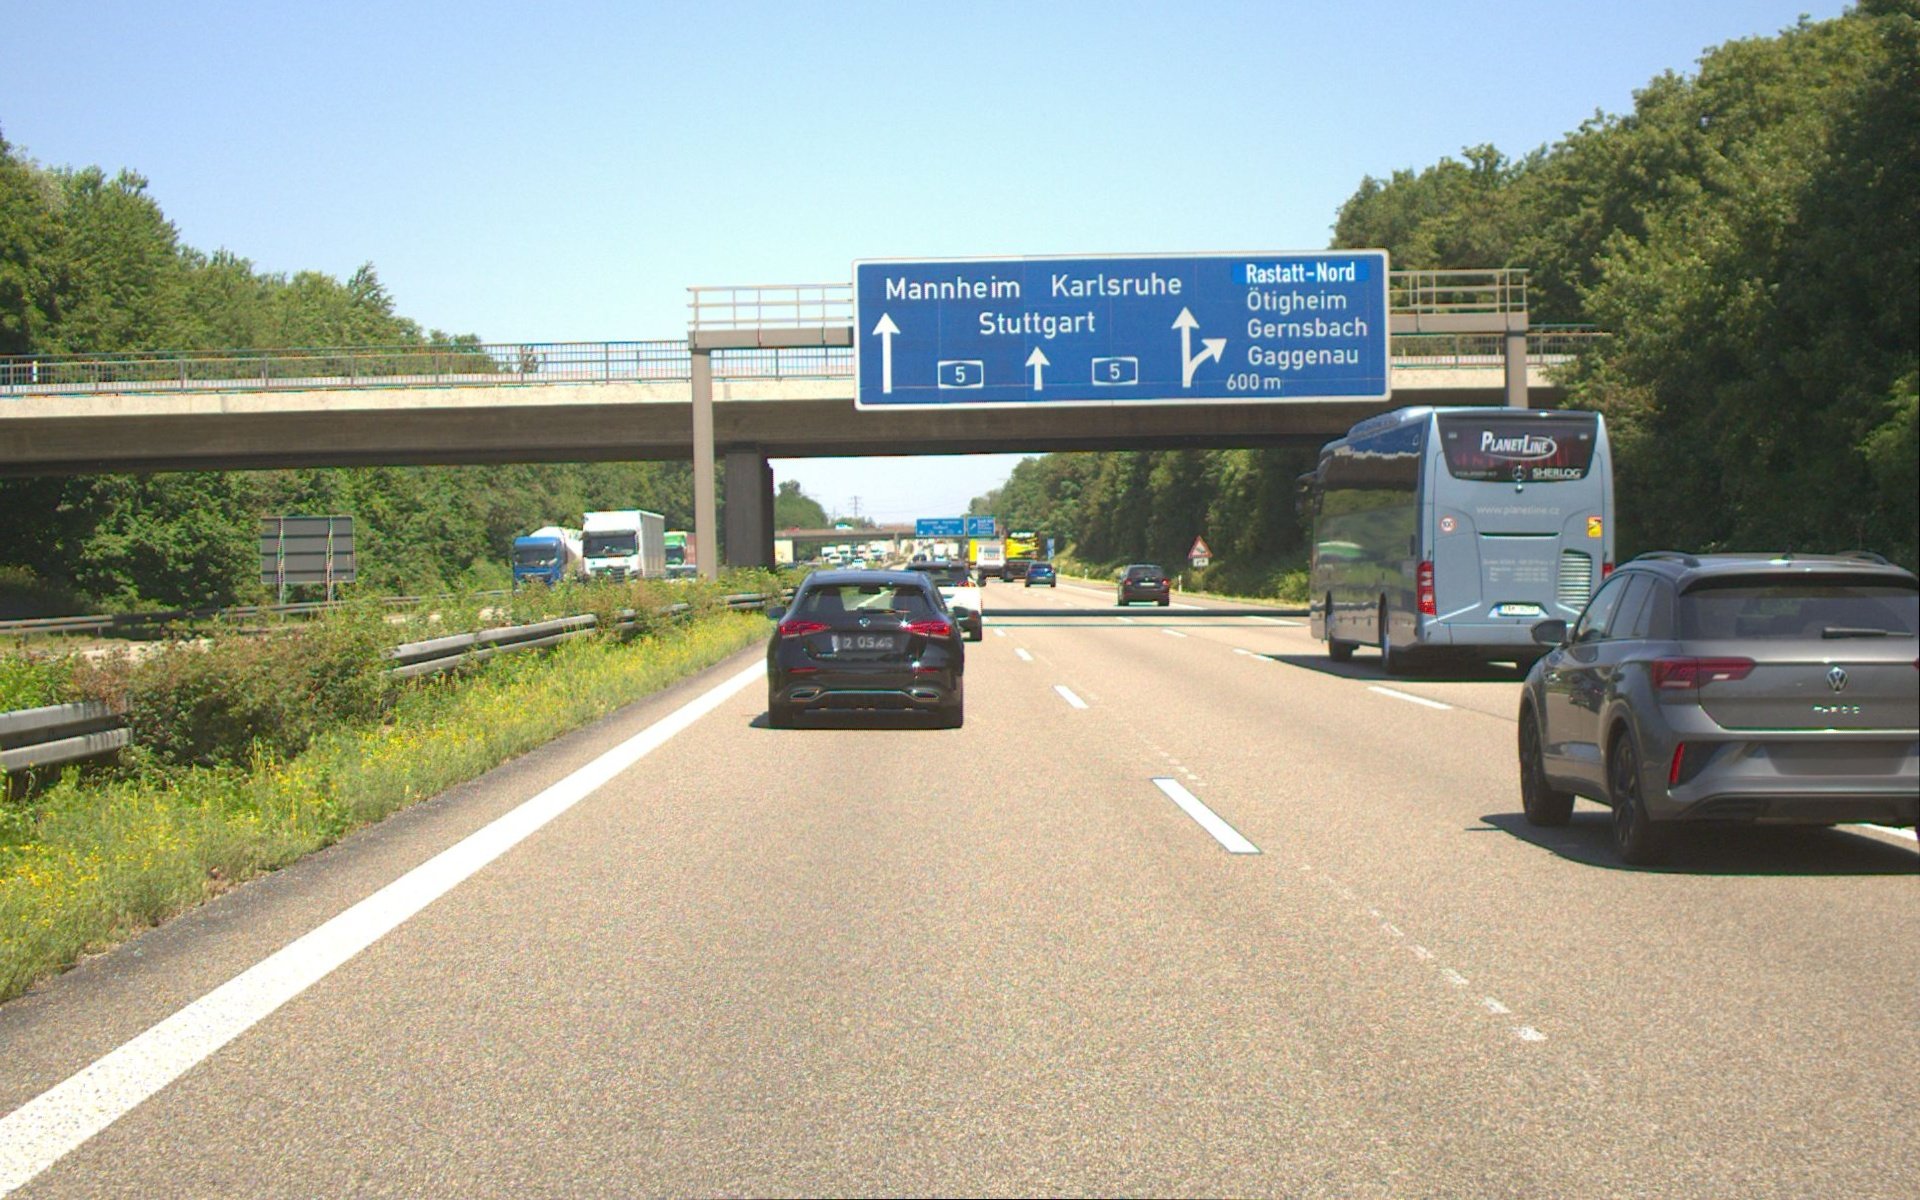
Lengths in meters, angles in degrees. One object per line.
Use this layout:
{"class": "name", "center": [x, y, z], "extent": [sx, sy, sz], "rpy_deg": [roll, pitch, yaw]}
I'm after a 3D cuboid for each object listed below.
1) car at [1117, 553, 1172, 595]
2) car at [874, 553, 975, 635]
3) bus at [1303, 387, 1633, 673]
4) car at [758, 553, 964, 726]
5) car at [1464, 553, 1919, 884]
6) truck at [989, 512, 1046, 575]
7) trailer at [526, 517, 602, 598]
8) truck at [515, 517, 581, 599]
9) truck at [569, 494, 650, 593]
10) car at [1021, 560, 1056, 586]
{"class": "car", "center": [6.586, -0.947, 123.263], "extent": [1.789, 1.456, 3.949], "rpy_deg": [0, 1, 0]}
{"class": "car", "center": [-0.722, -0.134, 66.783], "extent": [1.899, 1.527, 4.242], "rpy_deg": [0, 1, -1]}
{"class": "bus", "center": [6.984, -0.946, 49.300], "extent": [2.802, 3.584, 12.475], "rpy_deg": [0, 1, 0]}
{"class": "car", "center": [-0.920, 0.316, 32.211], "extent": [1.799, 1.497, 4.242], "rpy_deg": [0, 1, -1]}
{"class": "car", "center": [4.053, 0.519, 18.350], "extent": [1.899, 1.527, 4.760], "rpy_deg": [0, 1, -1]}
{"class": "truck", "center": [4.342, -4.265, 263.080], "extent": [3.647, 4.574, 15.768], "rpy_deg": [1, 0, -1]}
{"class": "trailer", "center": [-19.602, -2.109, 170.741], "extent": [2.358, 3.781, 12.075], "rpy_deg": [-2, 1, 0]}
{"class": "truck", "center": [-19.545, -2.001, 163.331], "extent": [2.359, 3.762, 5.252], "rpy_deg": [-2, 1, 0]}
{"class": "truck", "center": [-15.423, -2.488, 151.548], "extent": [2.828, 4.197, 5.889], "rpy_deg": [-2, 1, 0]}
{"class": "car", "center": [4.851, -1.683, 212.469], "extent": [2.081, 1.527, 4.241], "rpy_deg": [0, 1, 0]}
